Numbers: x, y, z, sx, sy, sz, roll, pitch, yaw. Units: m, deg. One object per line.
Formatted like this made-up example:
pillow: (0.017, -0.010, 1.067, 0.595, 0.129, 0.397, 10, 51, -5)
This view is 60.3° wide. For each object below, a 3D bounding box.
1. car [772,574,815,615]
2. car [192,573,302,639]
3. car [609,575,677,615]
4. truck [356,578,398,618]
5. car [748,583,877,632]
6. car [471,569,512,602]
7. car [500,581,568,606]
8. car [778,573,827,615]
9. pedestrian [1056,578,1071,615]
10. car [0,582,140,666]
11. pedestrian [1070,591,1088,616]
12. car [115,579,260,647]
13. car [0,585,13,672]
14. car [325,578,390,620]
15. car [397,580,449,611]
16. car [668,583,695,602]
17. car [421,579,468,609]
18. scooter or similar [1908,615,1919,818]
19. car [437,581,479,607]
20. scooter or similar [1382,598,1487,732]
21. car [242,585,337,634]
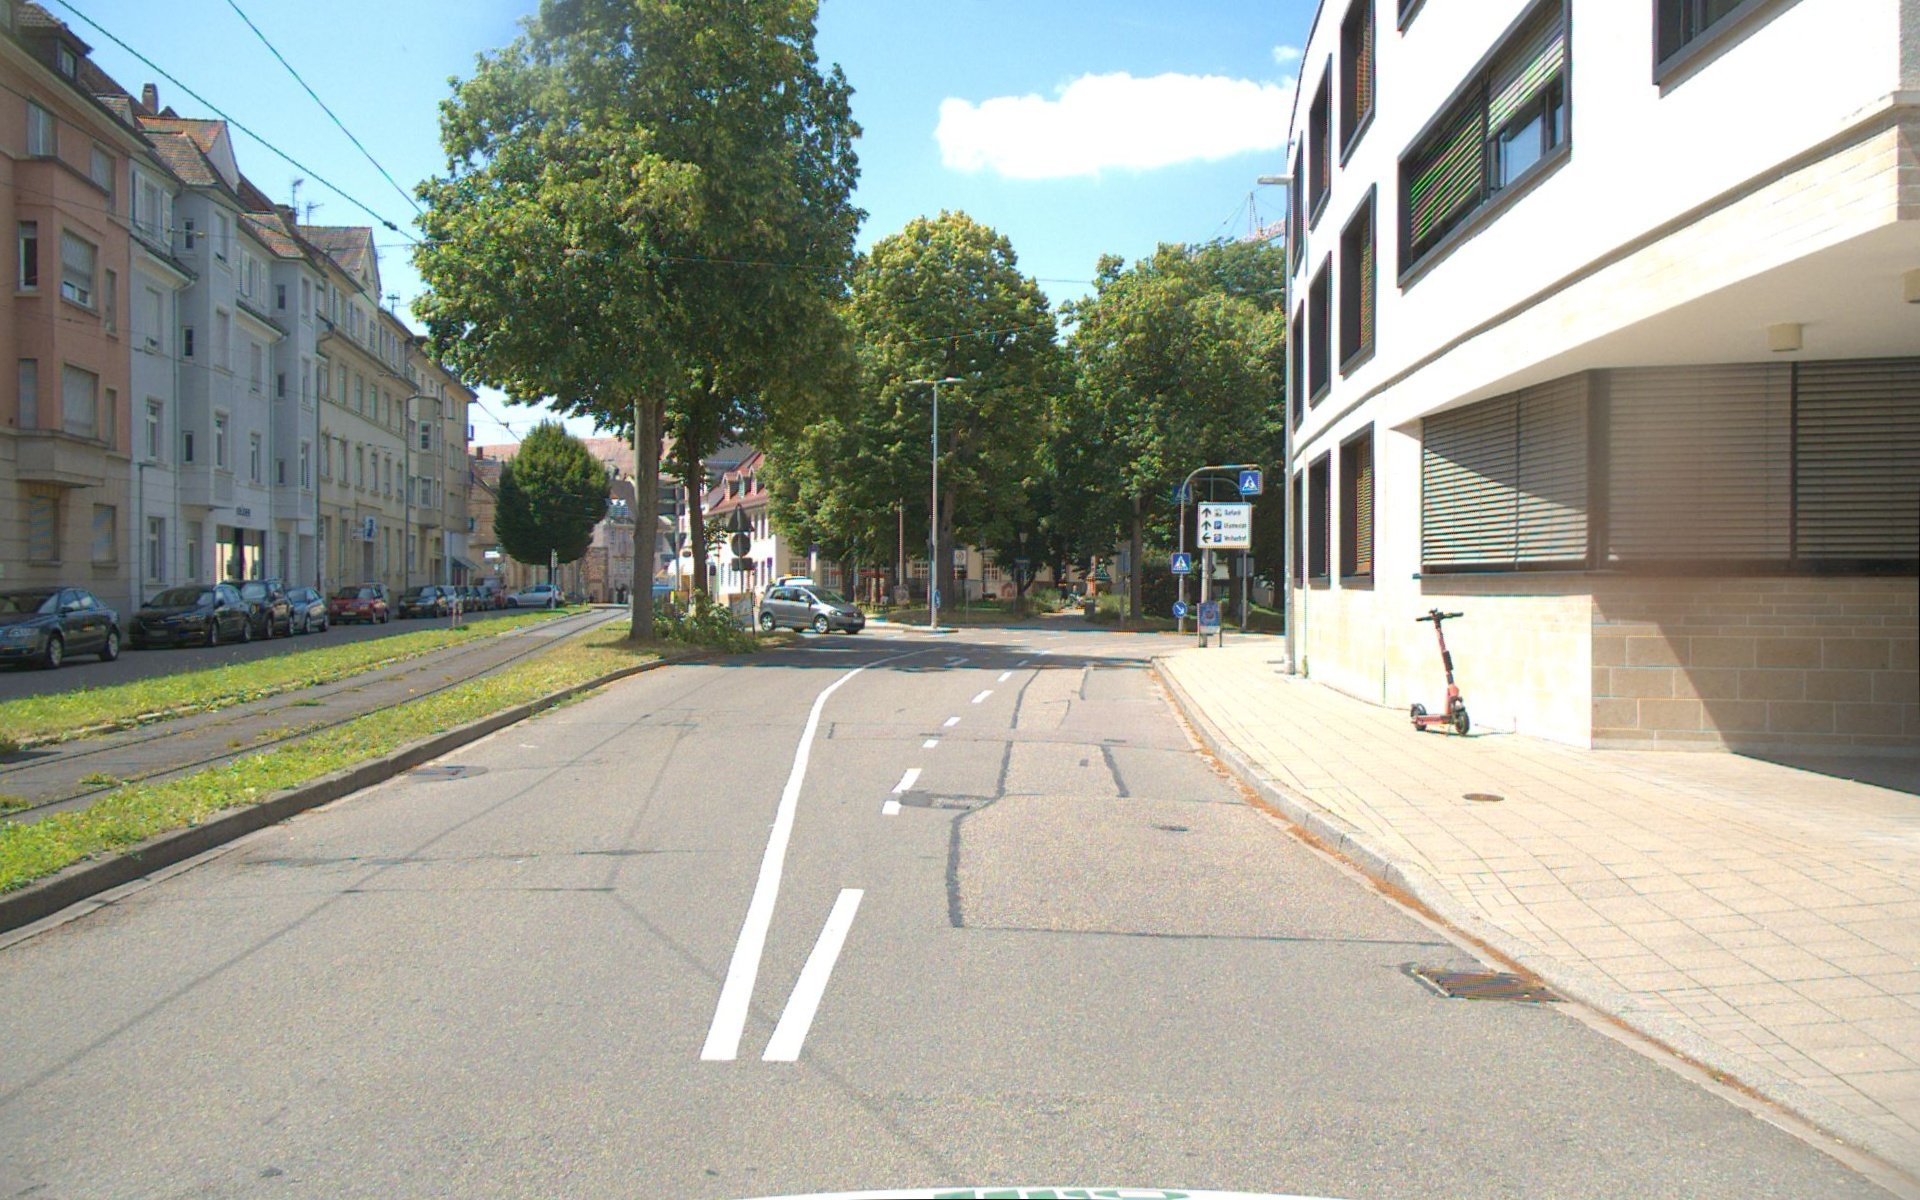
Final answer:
car: (-8.561, -0.309, 84.810, 2.011, 2.037, 5.240, 1, 1, -8)
car: (-19.771, 0.135, 46.033, 1.803, 1.715, 4.134, -1, 1, -9)
car: (-13.473, -0.191, 70.519, 1.771, 1.518, 4.002, 3, -1, 5)
truck: (-22.959, -0.093, 65.198, 1.105, 1.520, 2.588, -1, 1, -10)
car: (-5.057, 0.248, 56.552, 4.159, 1.560, 1.902, 2, 0, 36)
car: (-28.344, -0.877, 100.133, 1.819, 1.944, 4.761, -1, 1, -9)
car: (-27.304, -0.442, 106.180, 4.131, 1.531, 1.997, -1, 1, -14)
car: (-7.328, -0.292, 76.602, 1.957, 1.858, 4.412, 1, 1, -10)
pedestrian: (5.494, -0.197, 87.989, 0.732, 1.944, 0.685, 1, 2, 6)
car: (-17.133, 0.403, 30.781, 1.891, 1.422, 4.854, -1, 1, -8)
pedestrian: (6.296, 0.178, 87.555, 0.886, 1.273, 1.149, 1, 2, 6)
car: (-18.796, 0.265, 40.480, 1.892, 1.516, 4.853, -1, 1, -9)
car: (-16.339, 0.502, 25.340, 1.797, 1.424, 4.134, -1, 1, -9)
car: (-22.170, -0.067, 60.978, 1.542, 1.476, 3.618, -1, 1, -9)
car: (-24.626, -0.229, 75.965, 1.655, 1.384, 3.849, -1, 1, -9)
car: (-23.681, -0.636, 140.523, 1.830, 1.512, 3.983, 1, 0, -16)
car: (-25.350, -0.300, 81.484, 1.655, 1.414, 3.849, -1, 1, -9)
scooter or similar: (6.094, 0.715, 9.532, 0.414, 1.232, 1.313, 0, 0, -6)
car: (-26.178, -0.336, 86.271, 1.655, 1.300, 3.282, -1, 1, -9)
scooter or similar: (4.793, 0.634, 16.783, 0.570, 1.282, 1.366, -2, 0, -4)
car: (-20.470, 0.246, 50.668, 1.774, 1.380, 4.241, -1, 1, -9)
